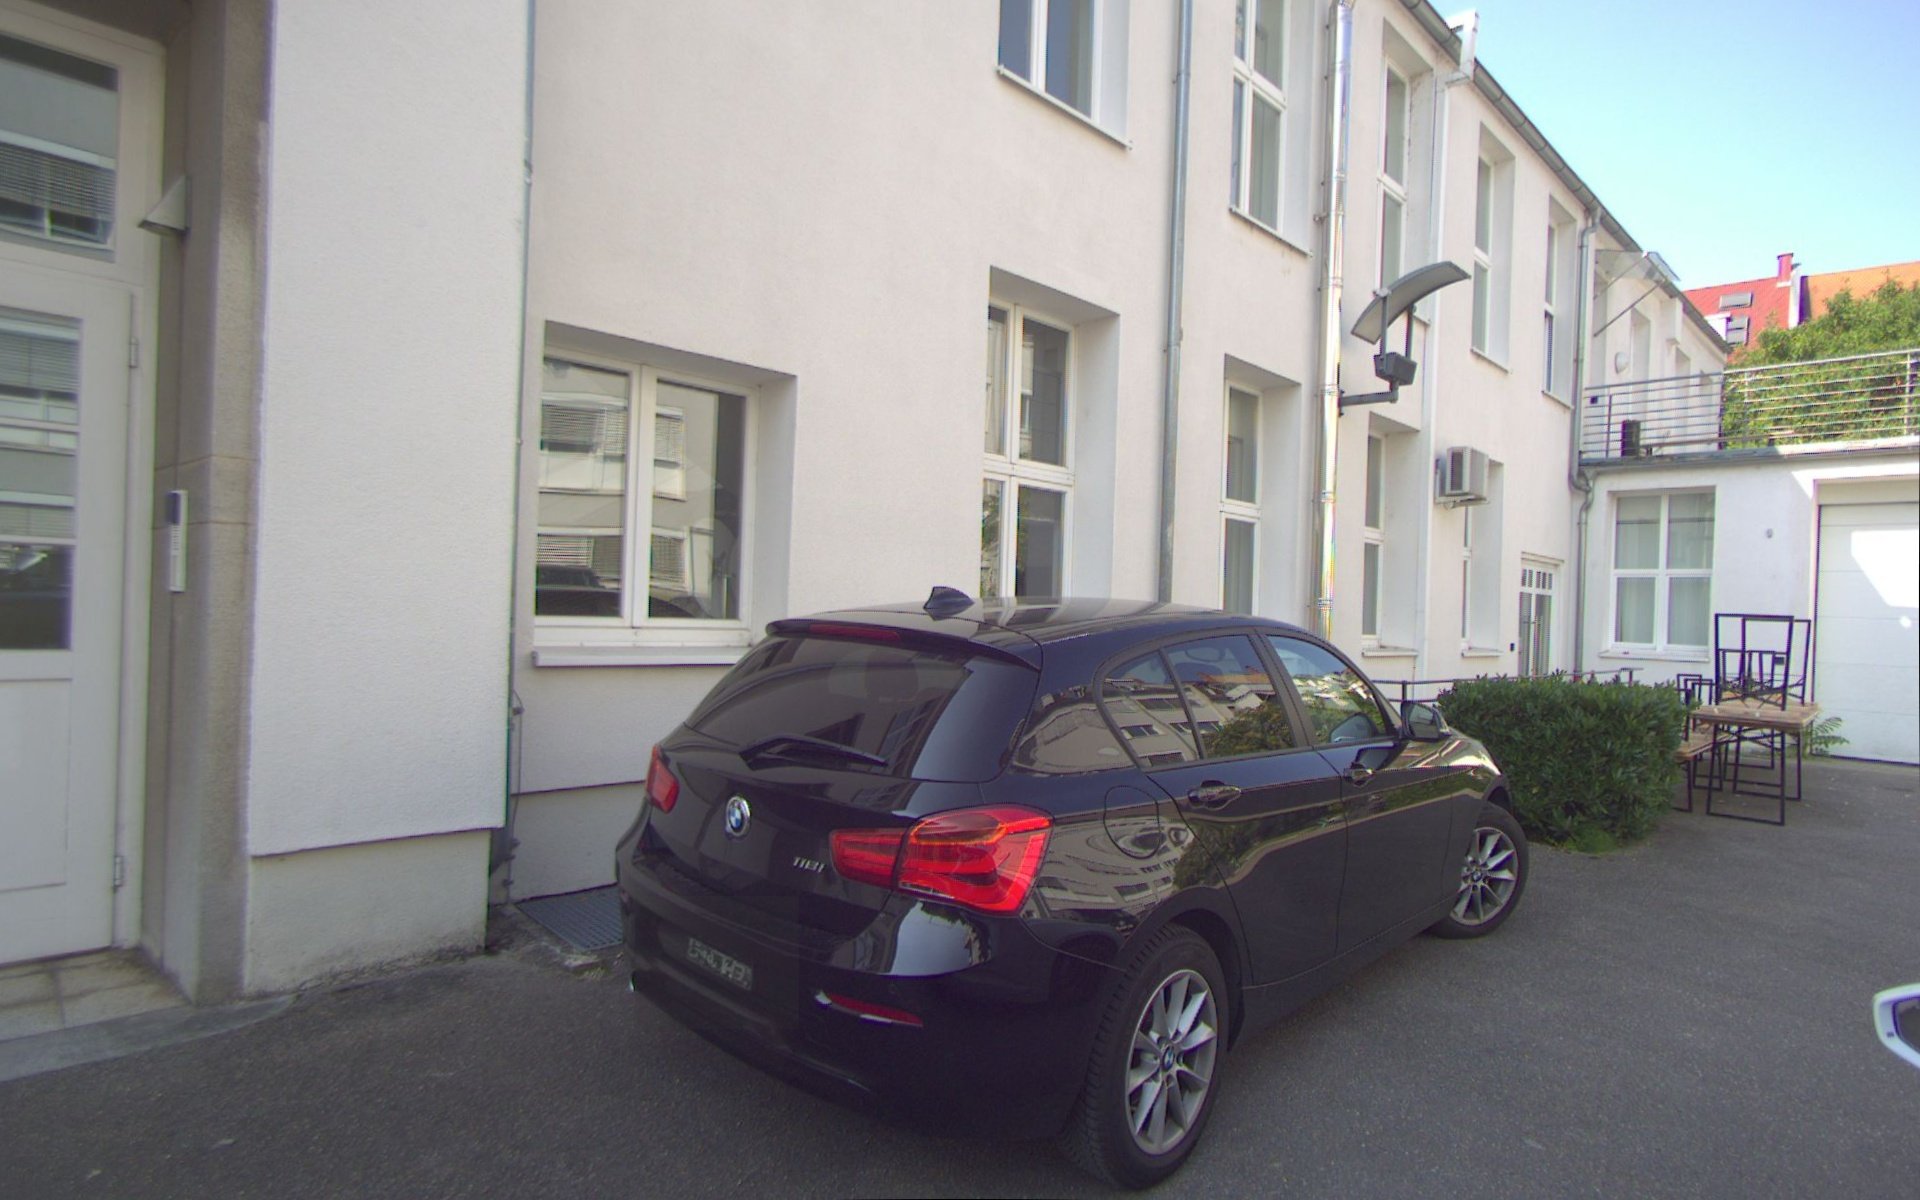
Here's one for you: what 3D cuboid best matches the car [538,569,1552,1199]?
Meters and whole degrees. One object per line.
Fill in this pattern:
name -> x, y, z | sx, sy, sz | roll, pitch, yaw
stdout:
car -> 0.781, 0.714, 3.938 | 1.773, 1.447, 4.112 | 3, 0, 43
